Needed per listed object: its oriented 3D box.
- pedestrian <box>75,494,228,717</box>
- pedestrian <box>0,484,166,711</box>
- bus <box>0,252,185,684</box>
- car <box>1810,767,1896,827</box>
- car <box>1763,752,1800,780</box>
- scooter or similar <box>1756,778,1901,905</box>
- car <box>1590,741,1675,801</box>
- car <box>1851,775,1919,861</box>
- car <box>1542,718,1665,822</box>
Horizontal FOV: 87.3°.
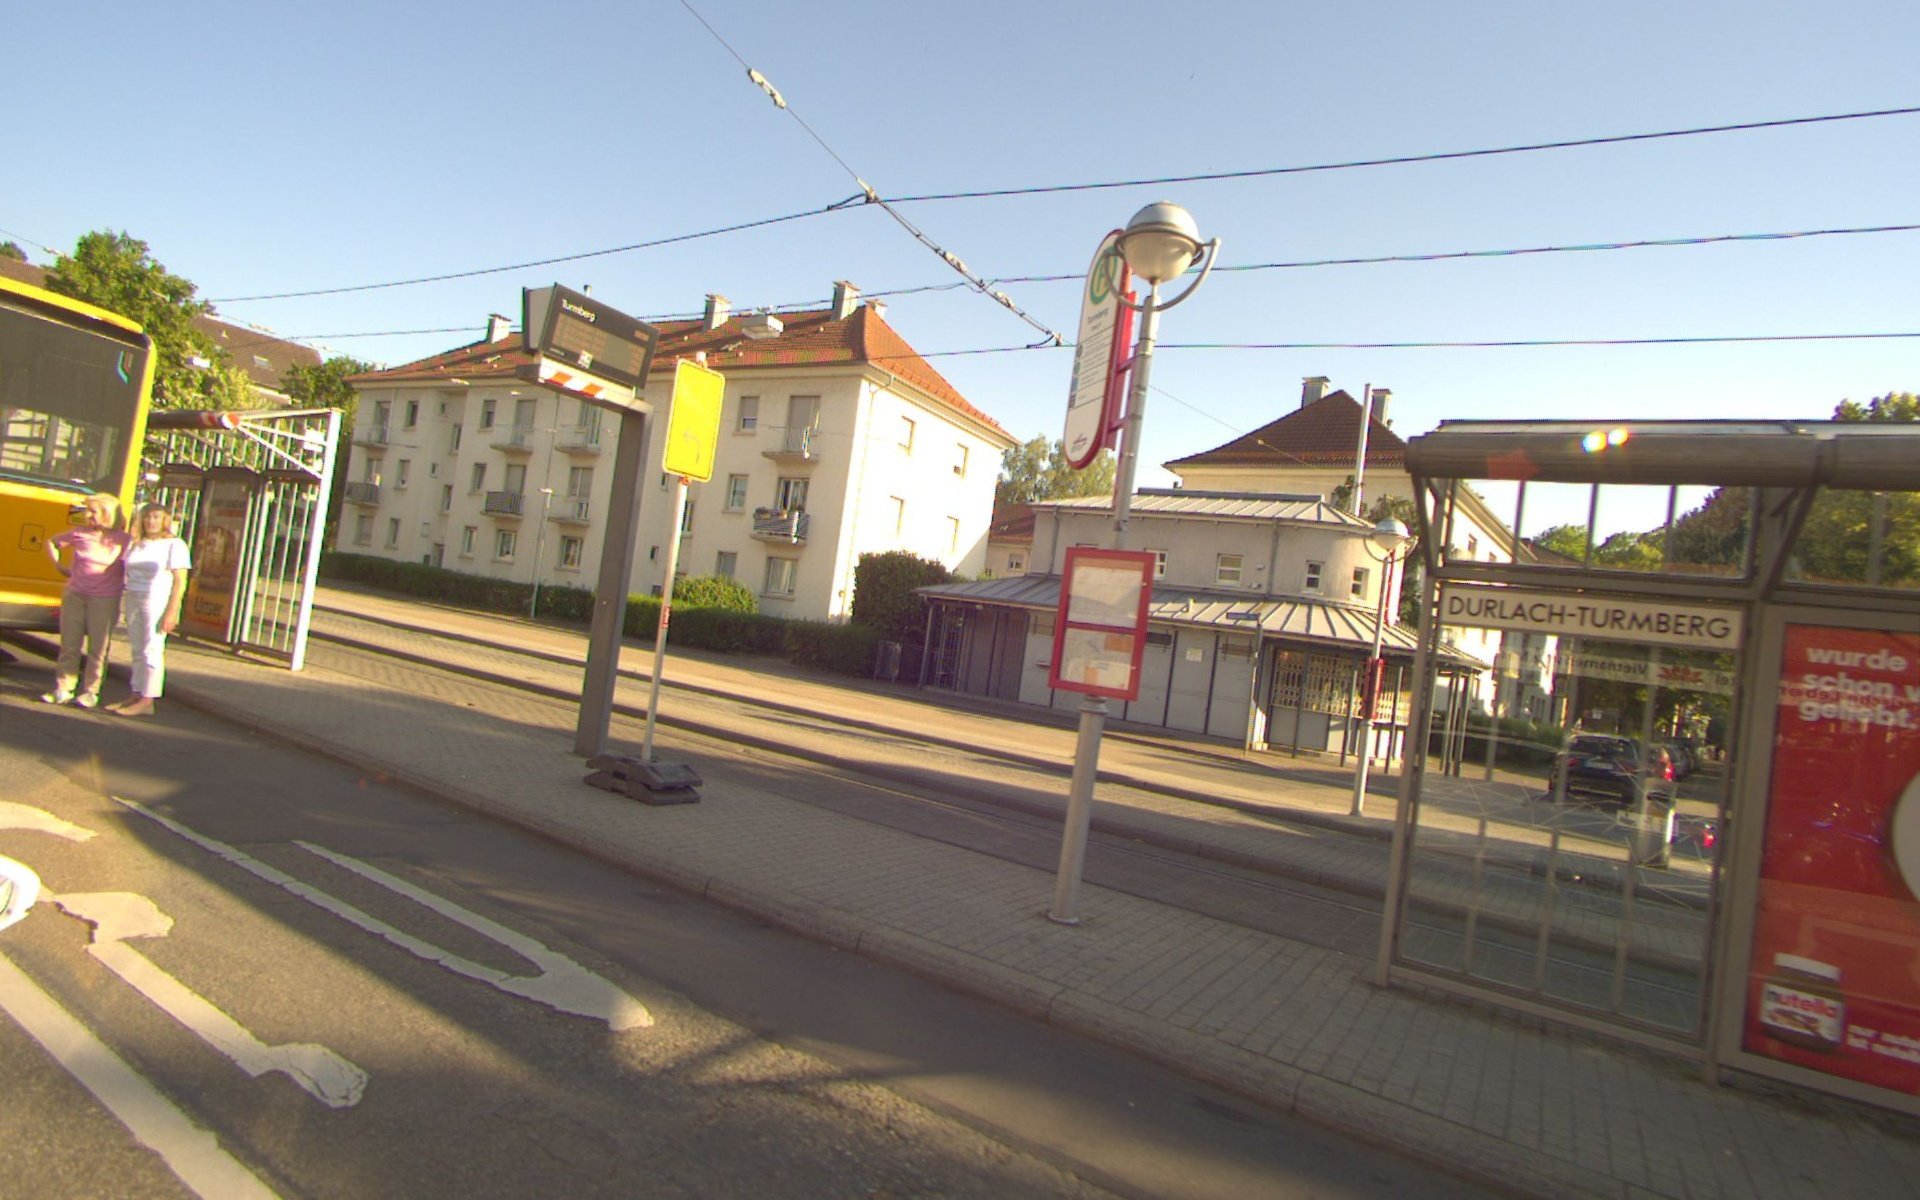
[{"bbox_3d":[-6.336,0.053,7.916,0.540,1.631,0.545,8,-1,-5],"label":"pedestrian"},{"bbox_3d":[-6.838,-0.011,7.848,0.625,1.631,0.545,8,-1,-5],"label":"pedestrian"},{"bbox_3d":[-12.957,-1.728,11.182,11.820,3.455,2.694,7,-2,32],"label":"bus"},{"bbox_3d":[32.616,7.152,36.850,1.971,1.617,3.987,6,-3,38],"label":"car"},{"bbox_3d":[63.508,12.843,77.834,1.971,1.733,3.987,6,-3,38],"label":"car"},{"bbox_3d":[10.367,2.850,12.031,1.193,1.222,0.465,6,-2,44],"label":"scooter or similar"},{"bbox_3d":[20.506,5.140,30.619,1.767,1.405,3.798,6,-3,38],"label":"car"},{"bbox_3d":[25.094,5.780,26.542,1.971,1.836,3.987,6,-2,38],"label":"car"},{"bbox_3d":[14.579,3.723,22.686,1.969,1.790,4.442,7,-1,36],"label":"car"}]
